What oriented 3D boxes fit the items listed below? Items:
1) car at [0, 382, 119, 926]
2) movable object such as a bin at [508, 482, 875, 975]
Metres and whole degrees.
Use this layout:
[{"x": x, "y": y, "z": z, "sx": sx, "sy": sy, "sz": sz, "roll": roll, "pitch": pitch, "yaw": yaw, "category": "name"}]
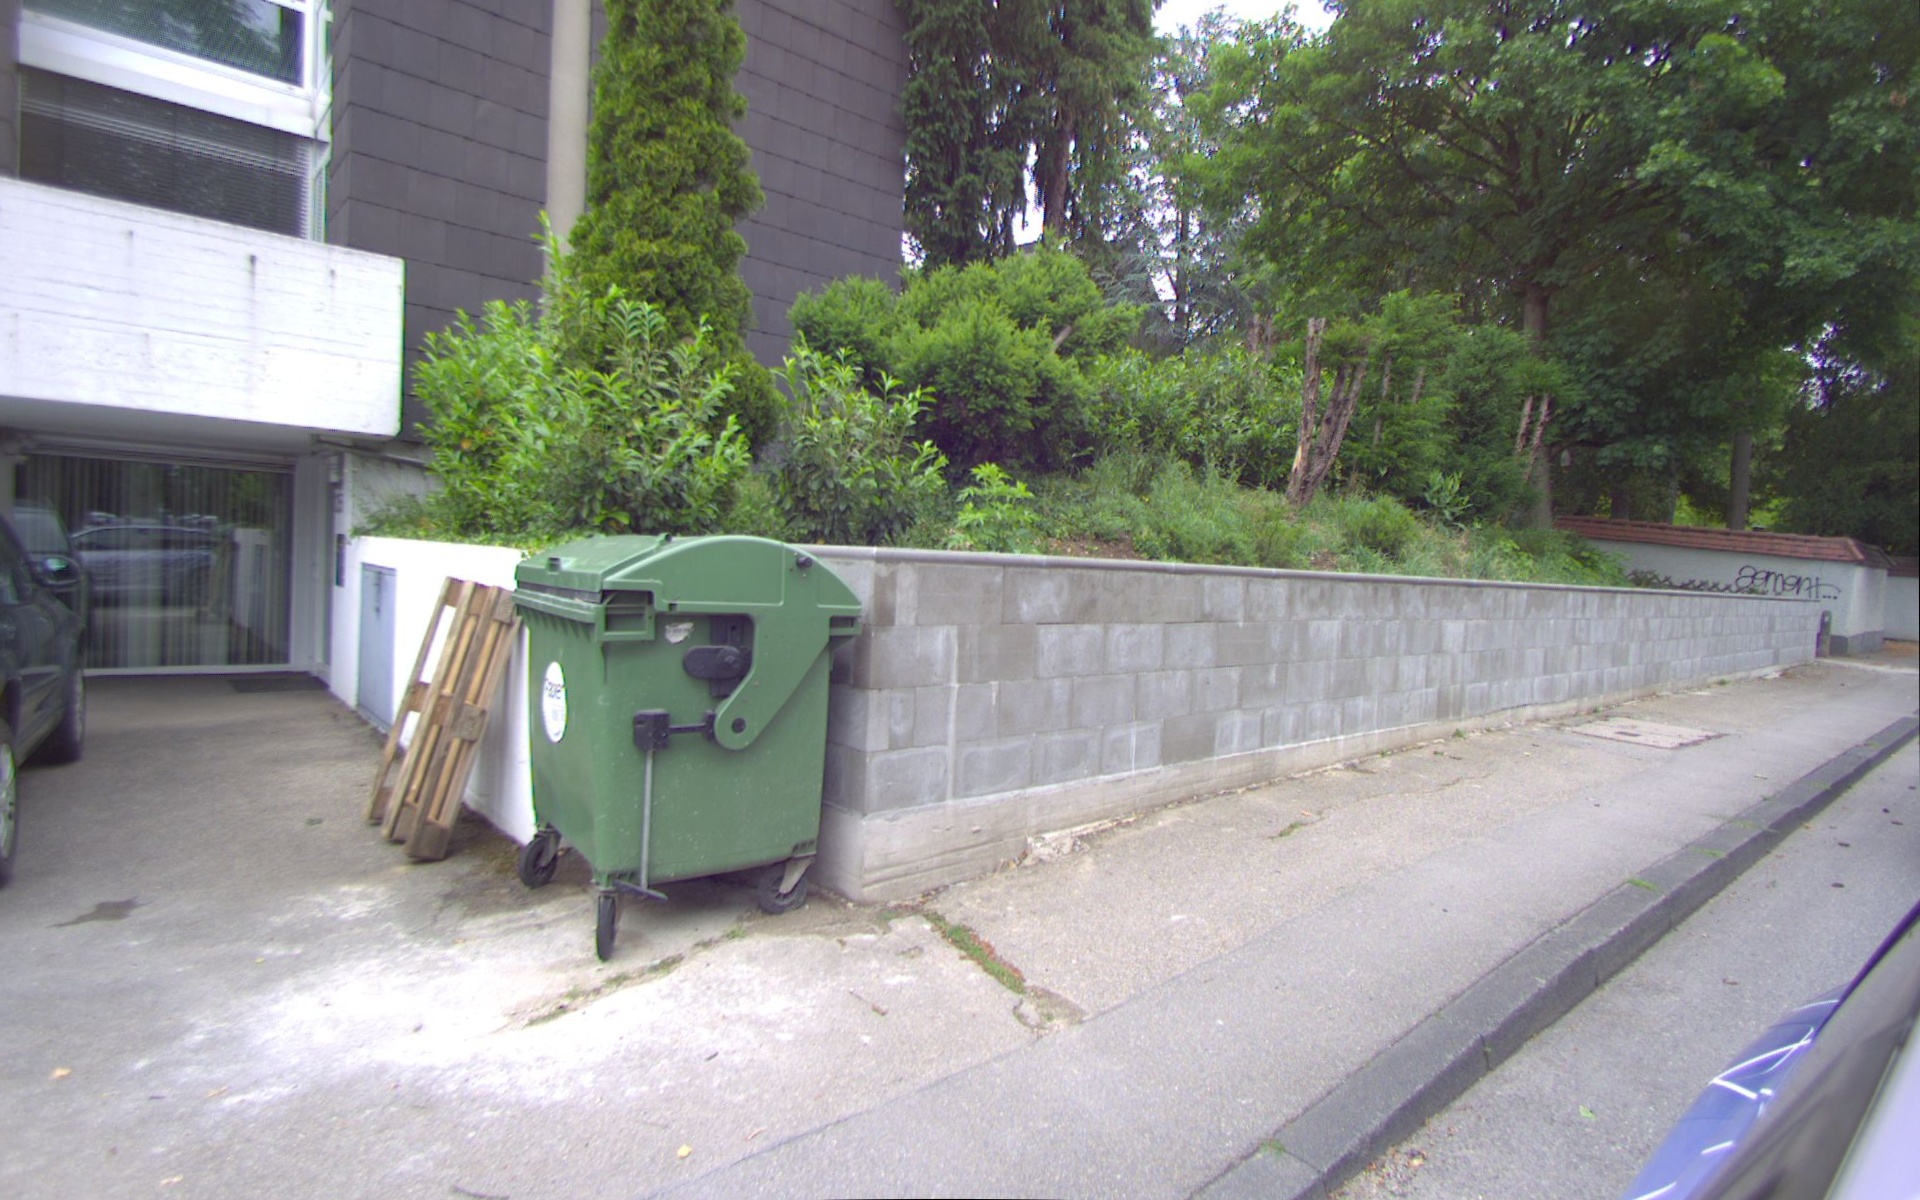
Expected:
[{"x": -4.976, "y": 0.085, "z": 4.383, "sx": 1.798, "sy": 1.771, "sz": 3.987, "roll": 0, "pitch": 3, "yaw": -36, "category": "car"}, {"x": -1.053, "y": 0.379, "z": 3.887, "sx": 1.014, "sy": 1.549, "sz": 1.037, "roll": 0, "pitch": 2, "yaw": -39, "category": "movable object such as a bin"}]
